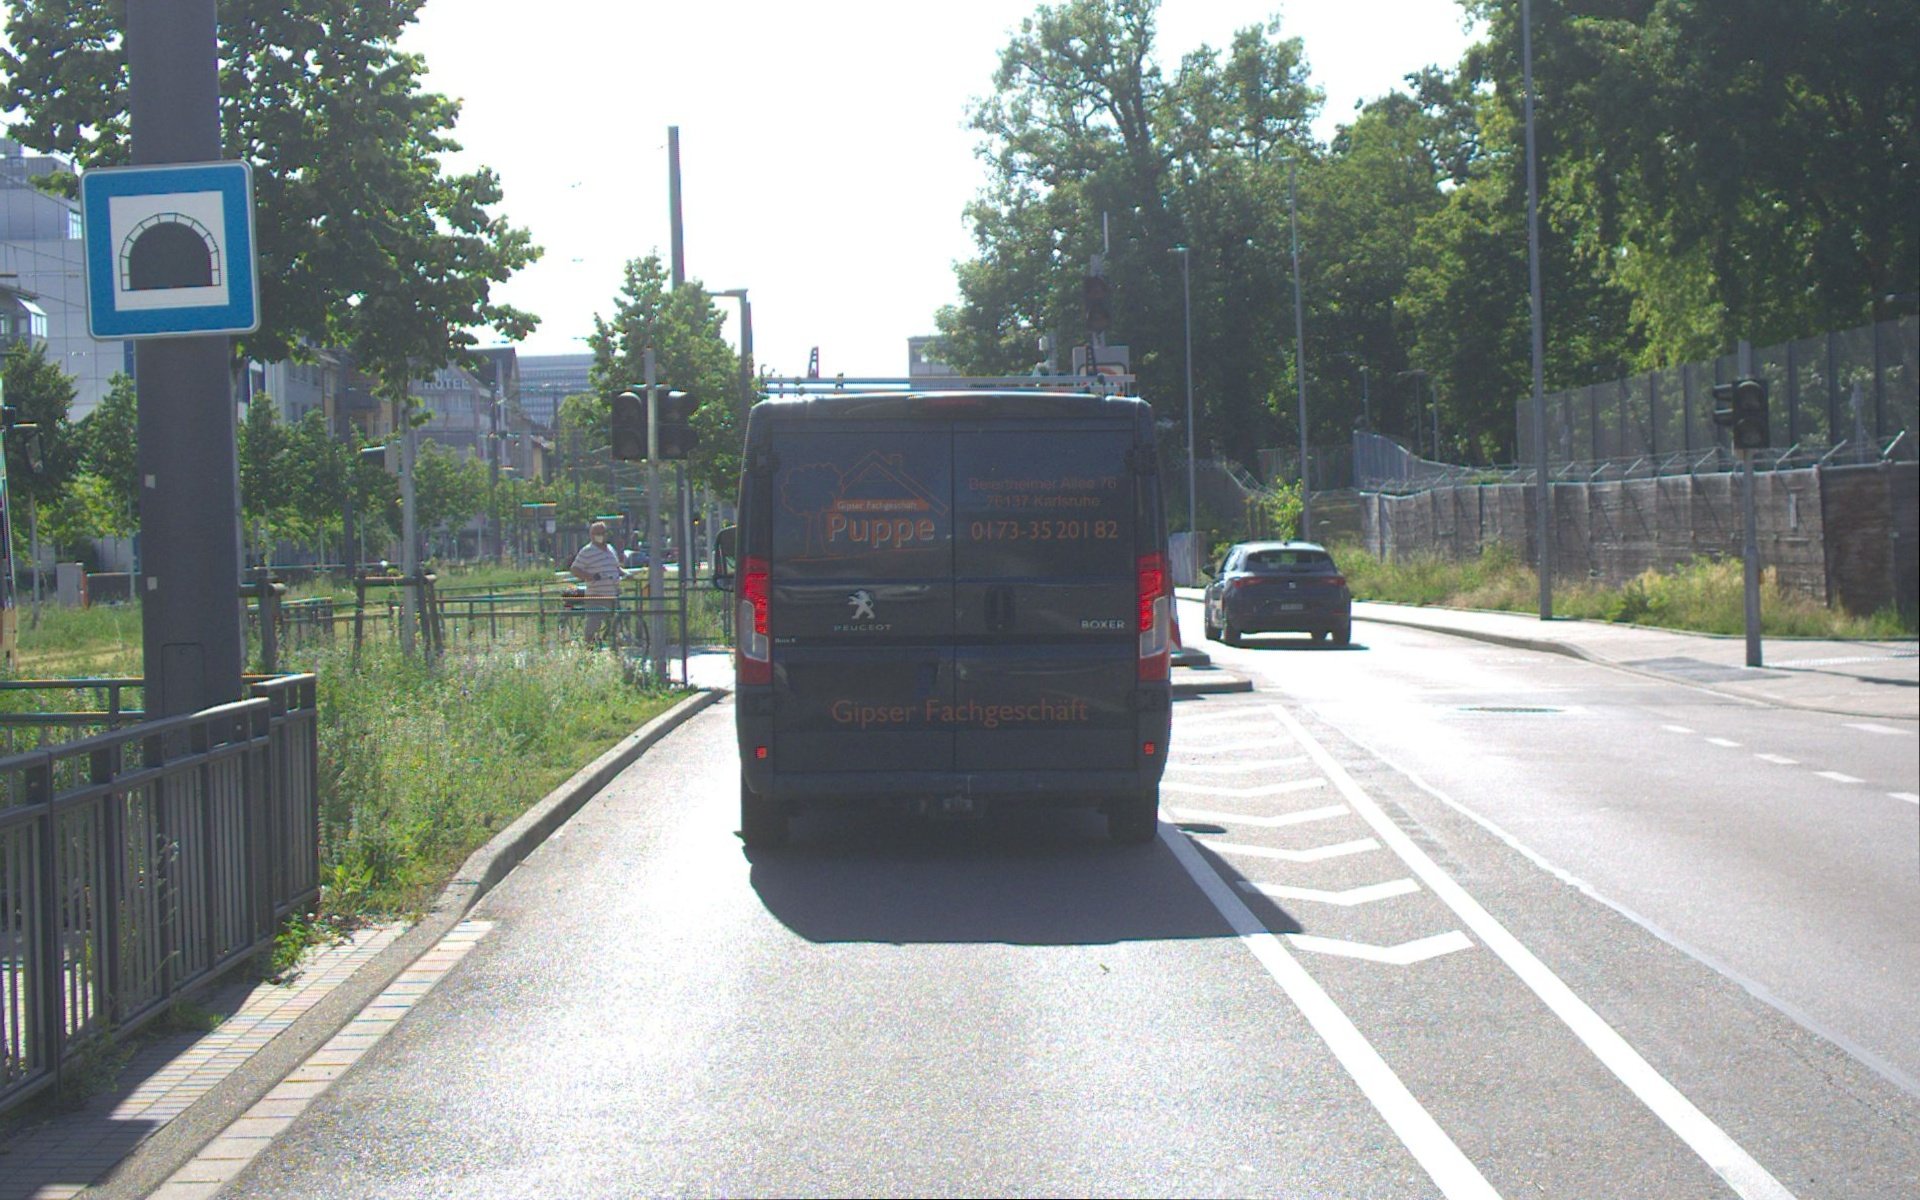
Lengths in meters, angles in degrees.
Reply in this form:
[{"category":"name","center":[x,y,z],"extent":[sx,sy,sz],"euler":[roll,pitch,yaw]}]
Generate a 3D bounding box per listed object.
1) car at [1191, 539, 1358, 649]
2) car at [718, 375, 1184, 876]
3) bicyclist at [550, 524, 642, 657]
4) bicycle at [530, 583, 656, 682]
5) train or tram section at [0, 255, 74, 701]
[{"category":"car","center":[4.388,-0.116,48.447],"extent":[1.763,1.457,4.001],"euler":[-1,1,-3]},{"category":"car","center":[-0.098,0.083,17.554],"extent":[2.082,2.241,4.000],"euler":[-1,1,-2]},{"category":"bicyclist","center":[-4.189,-0.112,39.560],"extent":[0.826,1.507,0.730],"euler":[-1,1,-27]},{"category":"bicycle","center":[-4.252,0.357,39.733],"extent":[0.732,1.087,2.083],"euler":[-1,1,-27]},{"category":"train or tram section","center":[-8.795,-0.935,24.701],"extent":[1.993,3.656,11.684],"euler":[-1,1,-1]}]
